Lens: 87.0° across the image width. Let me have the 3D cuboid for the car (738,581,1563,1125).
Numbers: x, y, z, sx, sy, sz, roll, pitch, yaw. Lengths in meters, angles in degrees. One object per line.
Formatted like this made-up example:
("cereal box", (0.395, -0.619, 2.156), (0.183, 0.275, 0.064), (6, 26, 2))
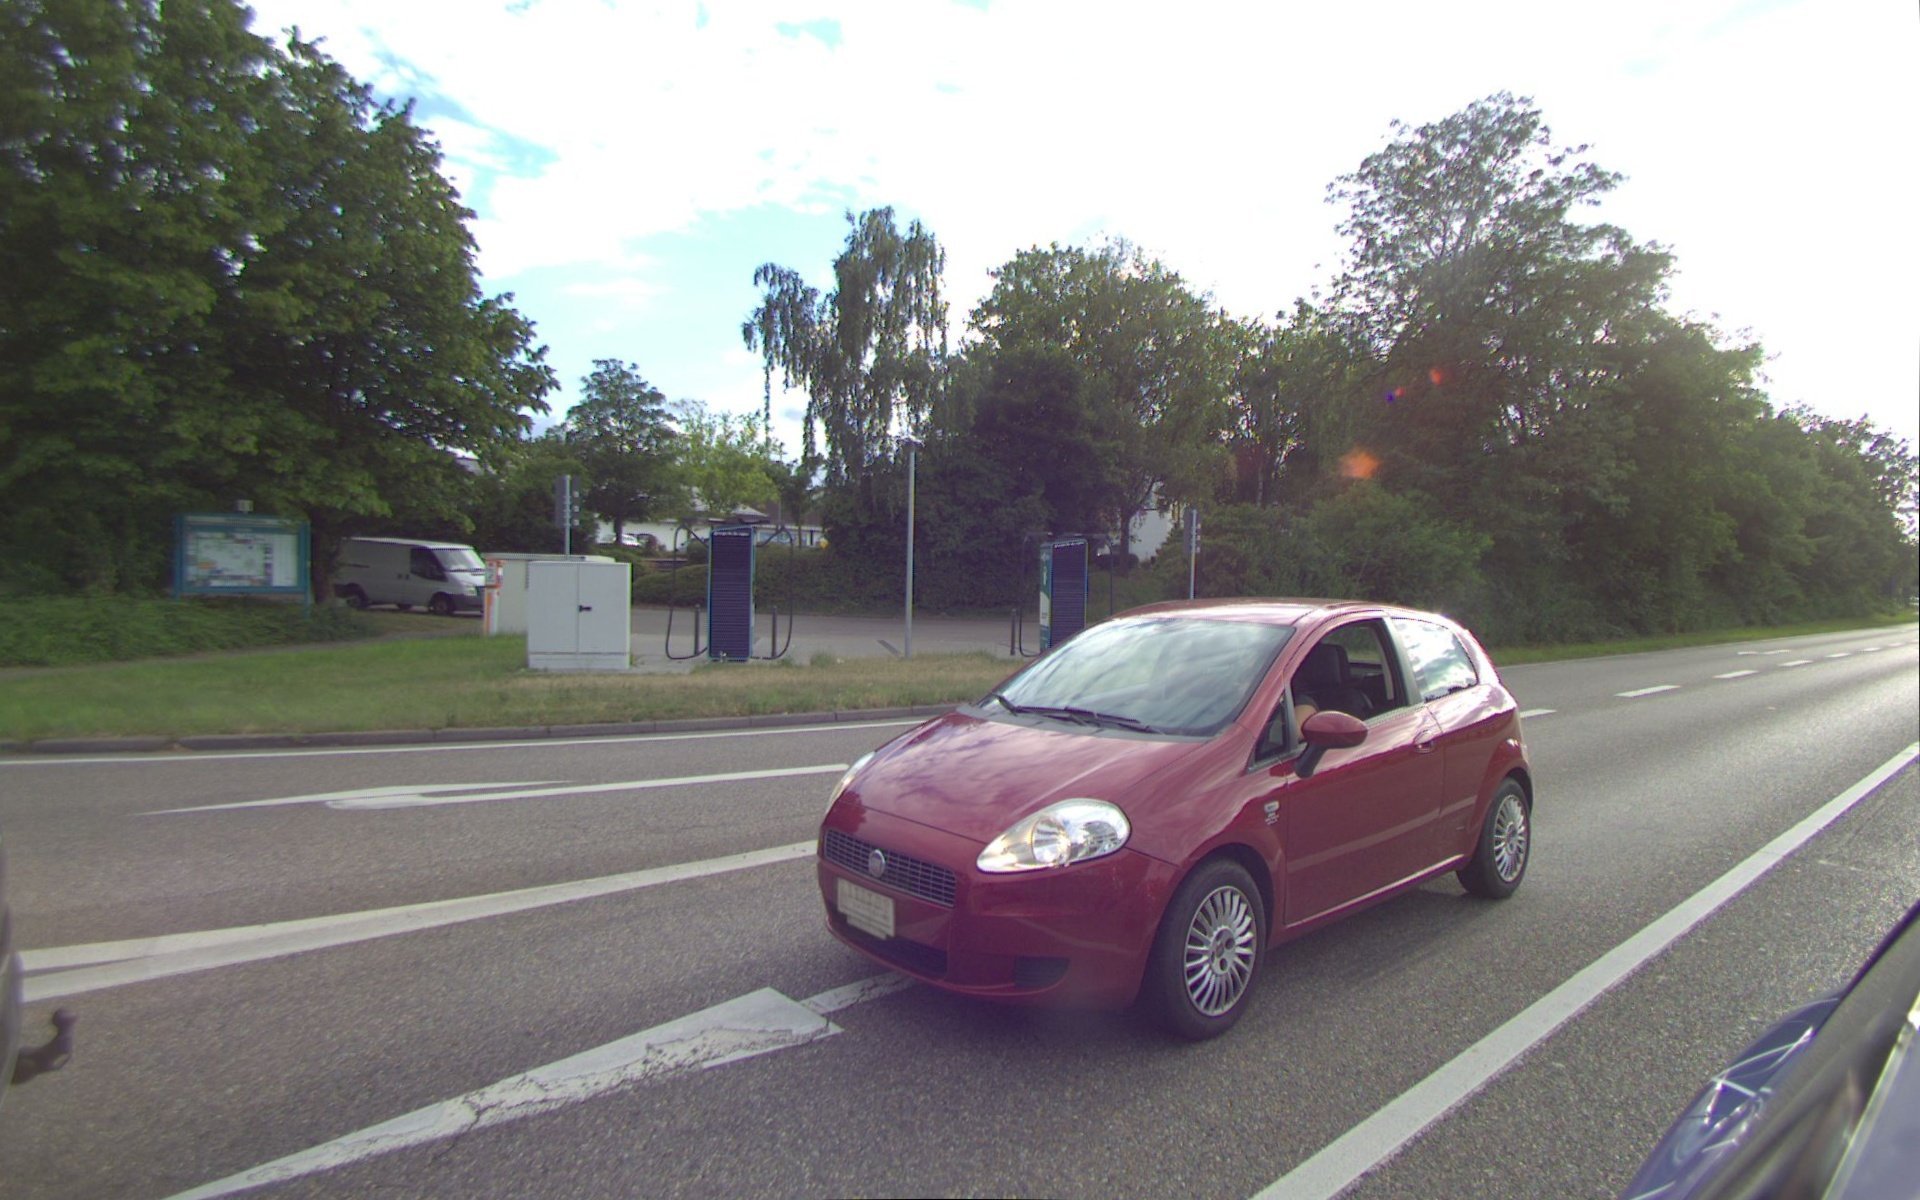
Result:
("car", (1.146, 0.659, 4.631), (3.925, 1.450, 1.665), (0, 1, -42))

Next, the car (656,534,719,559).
("car", (-18.659, -3.634, 69.374), (3.965, 1.547, 1.979), (0, 0, 30))

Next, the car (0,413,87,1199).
("car", (-3.667, 0.544, 0.872), (4.403, 1.671, 1.847), (0, 0, -42))

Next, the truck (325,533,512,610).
("truck", (-15.040, -0.793, 28.173), (4.602, 2.022, 1.816), (1, 0, 14))

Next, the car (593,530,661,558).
("car", (-21.167, -3.550, 64.327), (3.965, 1.582, 1.979), (0, 0, 30))
